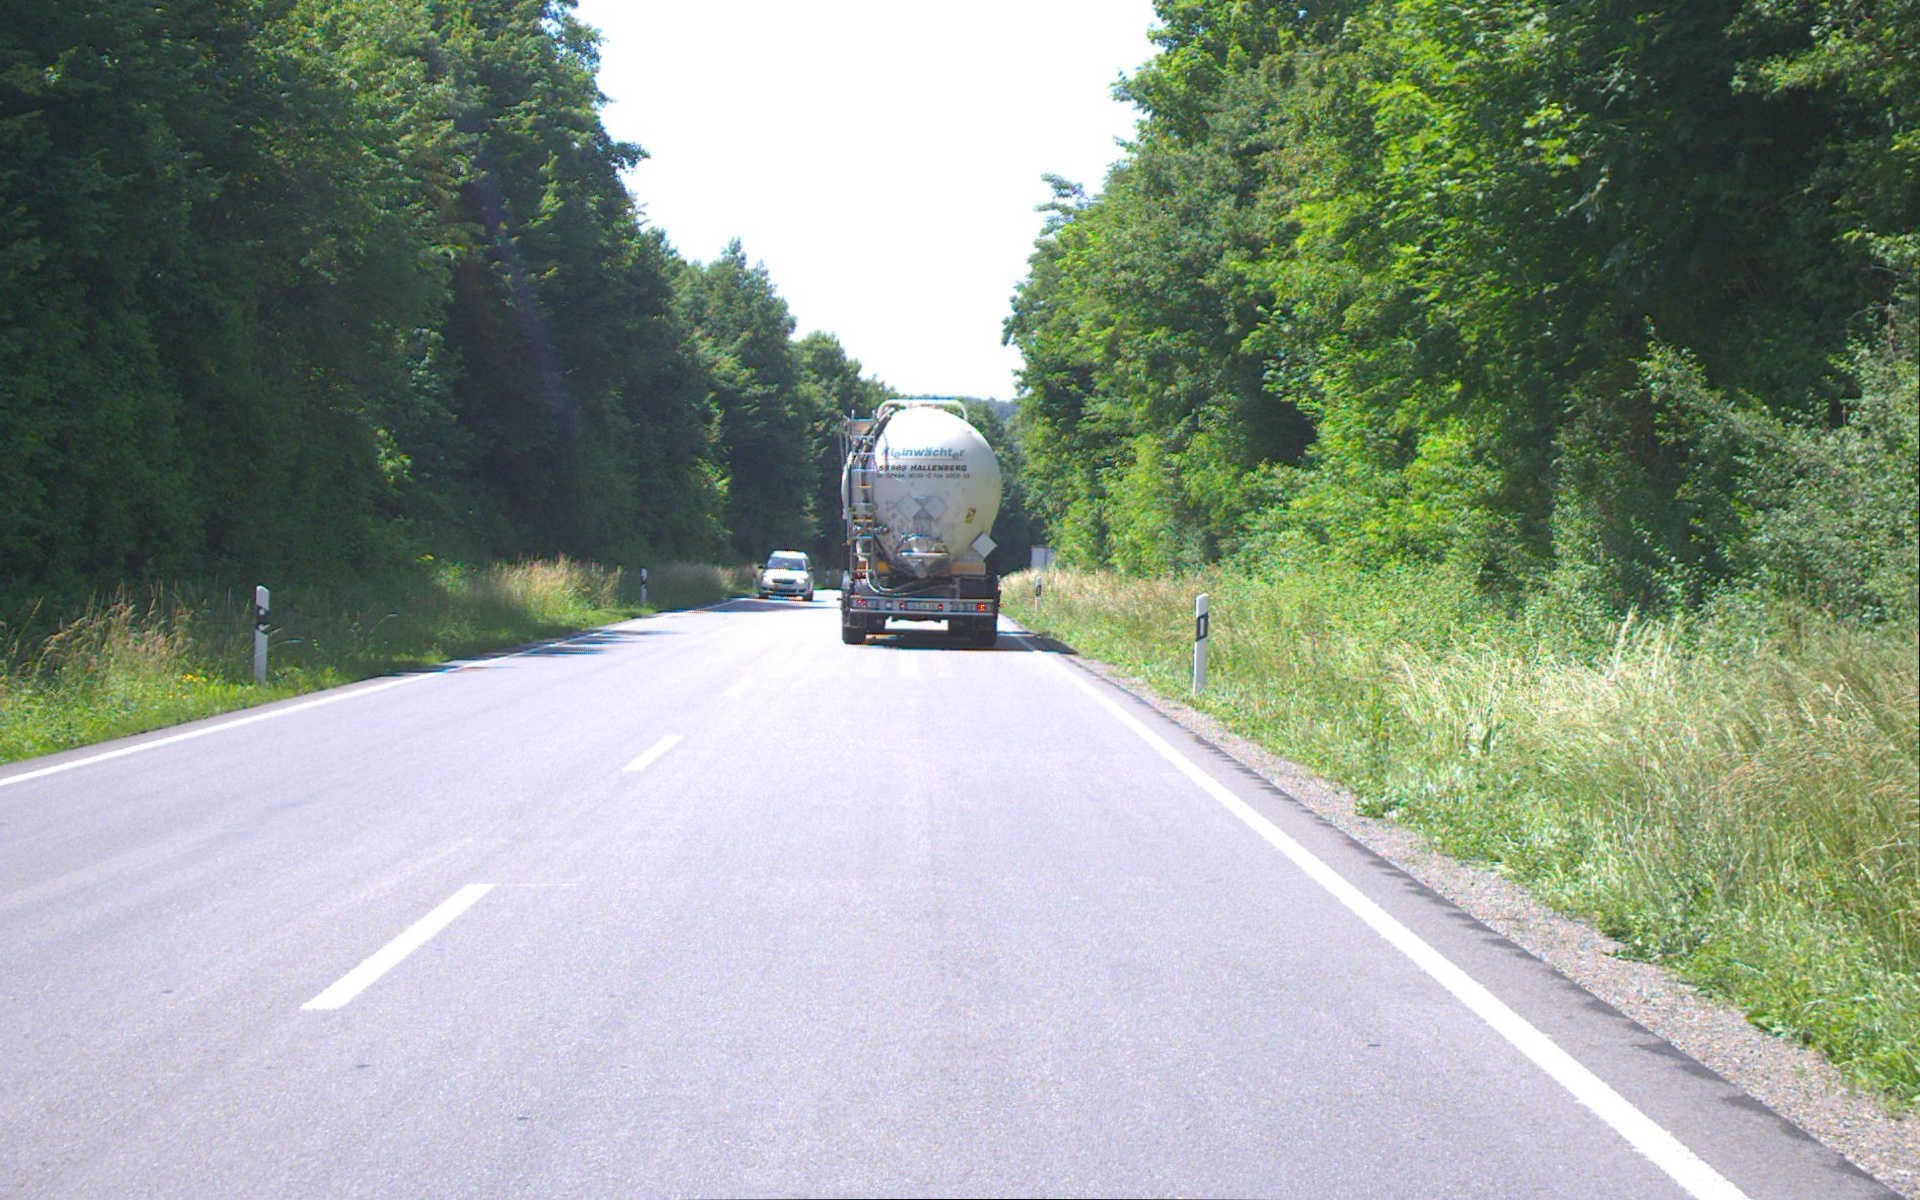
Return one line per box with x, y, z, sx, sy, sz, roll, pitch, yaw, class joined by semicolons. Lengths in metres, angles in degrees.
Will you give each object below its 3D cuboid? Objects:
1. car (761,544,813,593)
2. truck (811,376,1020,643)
-5.703;-1.046;113.538;1.512;1.587;3.793;1;1;0;car
-0.927;-1.472;60.996;3.049;3.984;15.638;3;0;-2;truck
